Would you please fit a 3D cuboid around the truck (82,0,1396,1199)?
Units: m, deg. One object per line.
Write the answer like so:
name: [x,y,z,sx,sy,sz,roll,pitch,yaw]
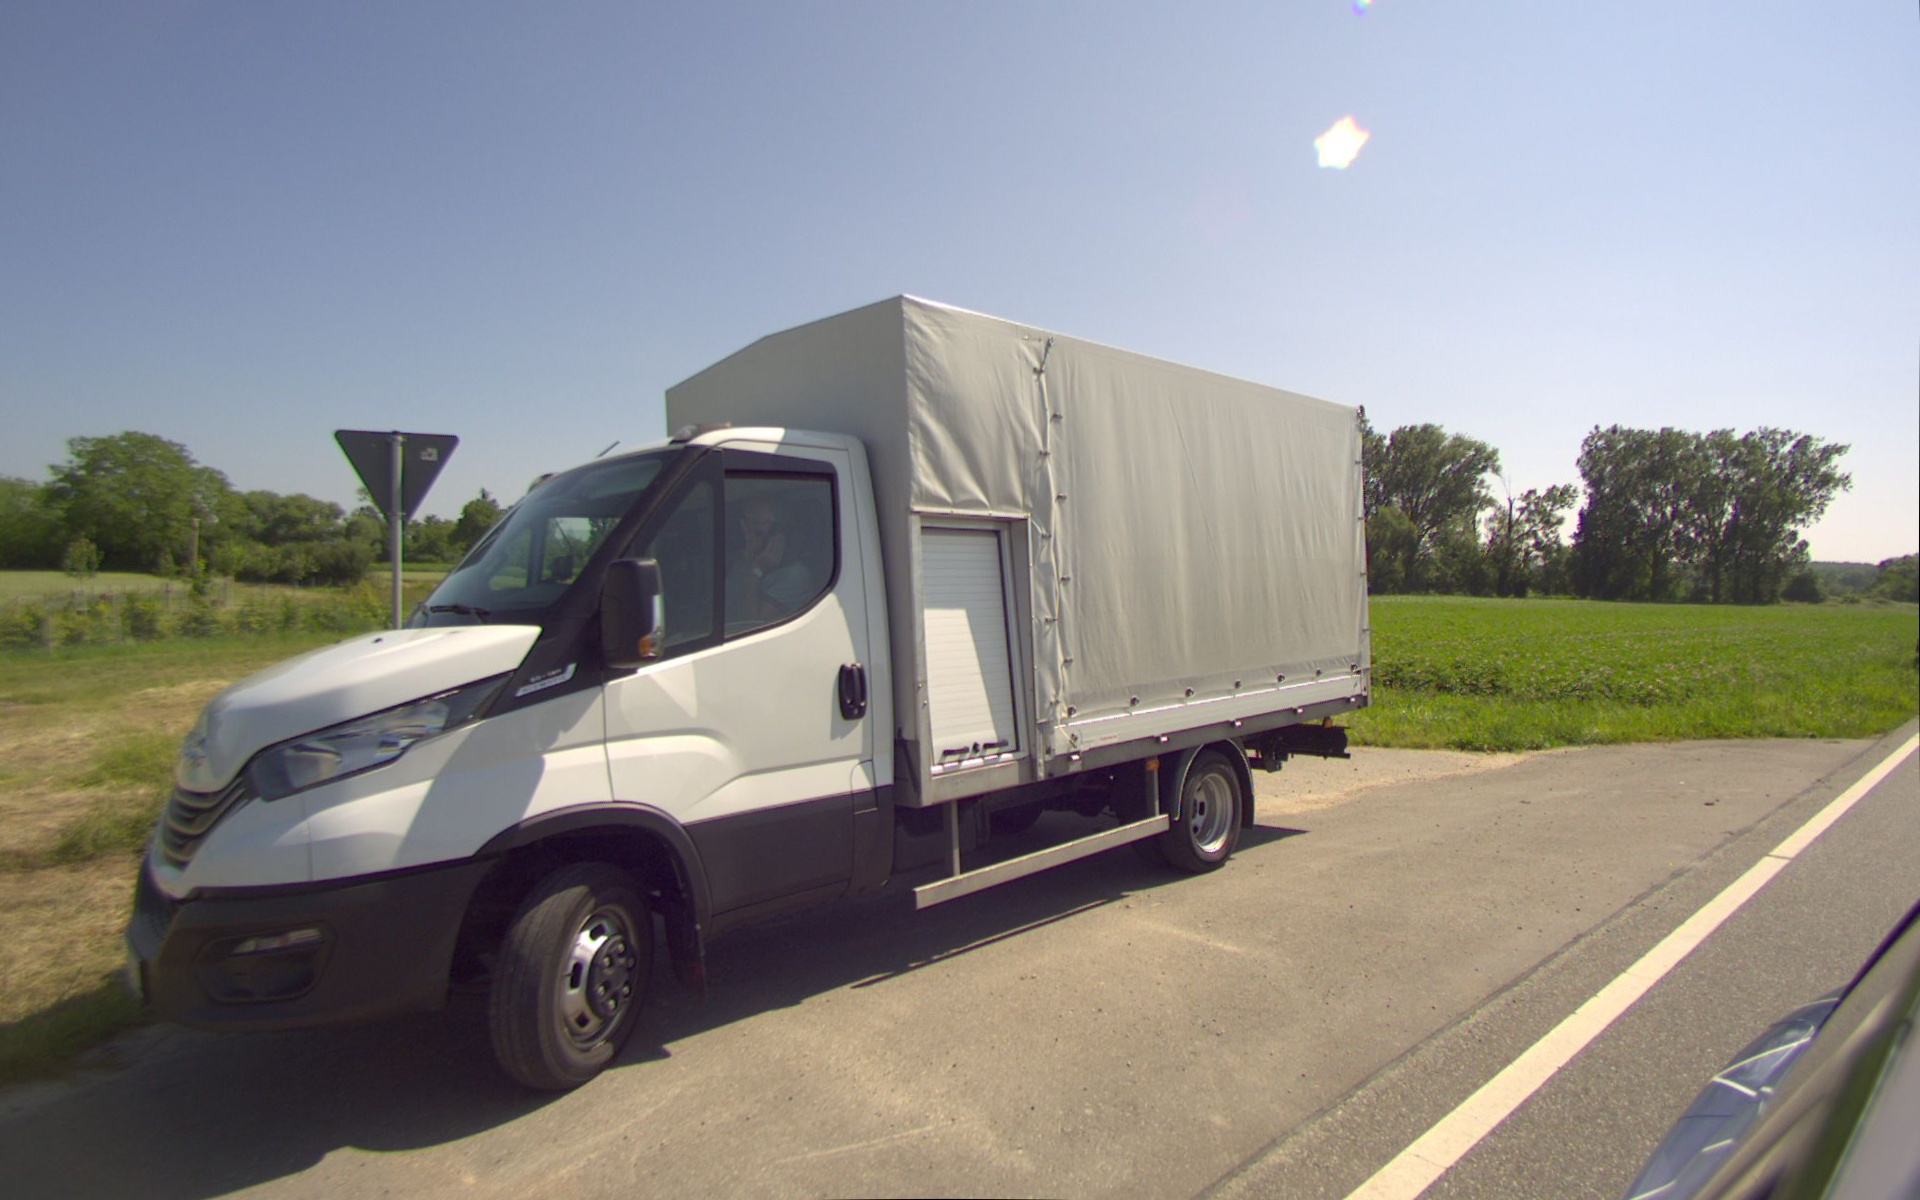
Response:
truck: [-0.246,0.030,5.600,6.892,2.980,2.337,0,-1,-44]
